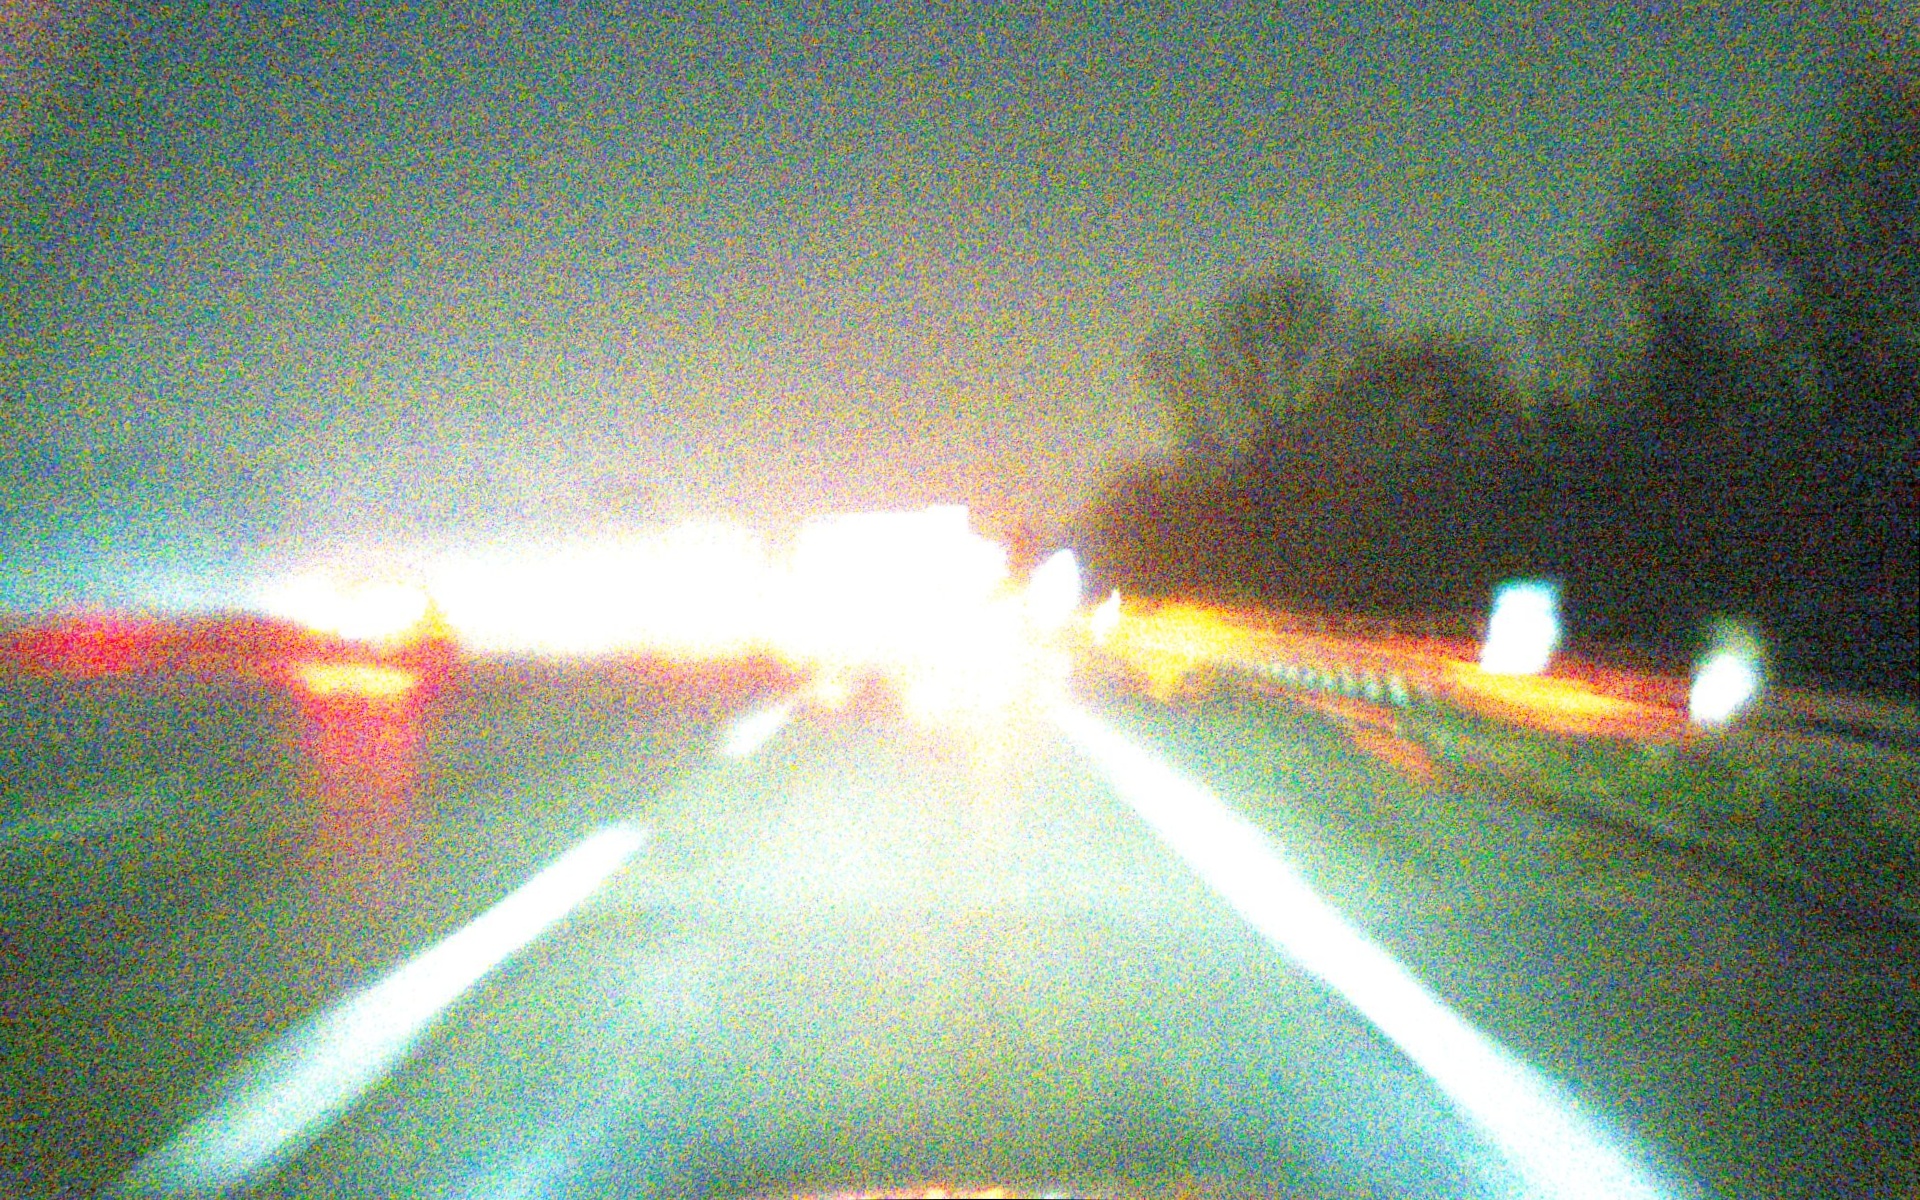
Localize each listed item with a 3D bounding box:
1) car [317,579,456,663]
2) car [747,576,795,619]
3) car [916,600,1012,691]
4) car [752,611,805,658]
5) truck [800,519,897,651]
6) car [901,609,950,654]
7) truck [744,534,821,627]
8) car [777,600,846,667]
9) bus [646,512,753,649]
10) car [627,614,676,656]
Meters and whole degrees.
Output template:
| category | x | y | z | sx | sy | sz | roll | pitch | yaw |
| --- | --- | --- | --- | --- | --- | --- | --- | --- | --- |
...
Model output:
| category | x | y | z | sx | sy | sz | roll | pitch | yaw |
| --- | --- | --- | --- | --- | --- | --- | --- | --- | --- |
| car | -11.949 | 0.437 | 34.718 | 1.956 | 1.624 | 3.993 | 1 | 0 | -8 |
| car | -8.553 | -0.102 | 75.060 | 1.954 | 1.839 | 3.996 | 1 | 0 | -4 |
| car | 0.034 | 0.959 | 36.092 | 1.953 | 1.839 | 3.999 | 1 | 0 | -1 |
| car | -7.381 | 1.376 | 67.564 | 1.954 | 1.839 | 3.996 | 1 | 0 | -4 |
| truck | -5.141 | -0.635 | 79.016 | 4.125 | 5.747 | 11.462 | 1 | 0 | -2 |
| car | -1.637 | 1.448 | 77.824 | 2.084 | 2.049 | 4.642 | 1 | 0 | -4 |
| truck | -11.584 | -1.156 | 109.312 | 4.125 | 5.747 | 11.462 | 1 | 0 | -2 |
| car | -4.820 | 1.074 | 54.369 | 2.084 | 2.049 | 4.642 | 1 | 0 | -4 |
| bus | -9.557 | -0.624 | 61.848 | 3.036 | 4.587 | 10.902 | 1 | 0 | -5 |
| car | -12.967 | 1.464 | 69.636 | 1.661 | 1.679 | 3.836 | 1 | 0 | -5 |
